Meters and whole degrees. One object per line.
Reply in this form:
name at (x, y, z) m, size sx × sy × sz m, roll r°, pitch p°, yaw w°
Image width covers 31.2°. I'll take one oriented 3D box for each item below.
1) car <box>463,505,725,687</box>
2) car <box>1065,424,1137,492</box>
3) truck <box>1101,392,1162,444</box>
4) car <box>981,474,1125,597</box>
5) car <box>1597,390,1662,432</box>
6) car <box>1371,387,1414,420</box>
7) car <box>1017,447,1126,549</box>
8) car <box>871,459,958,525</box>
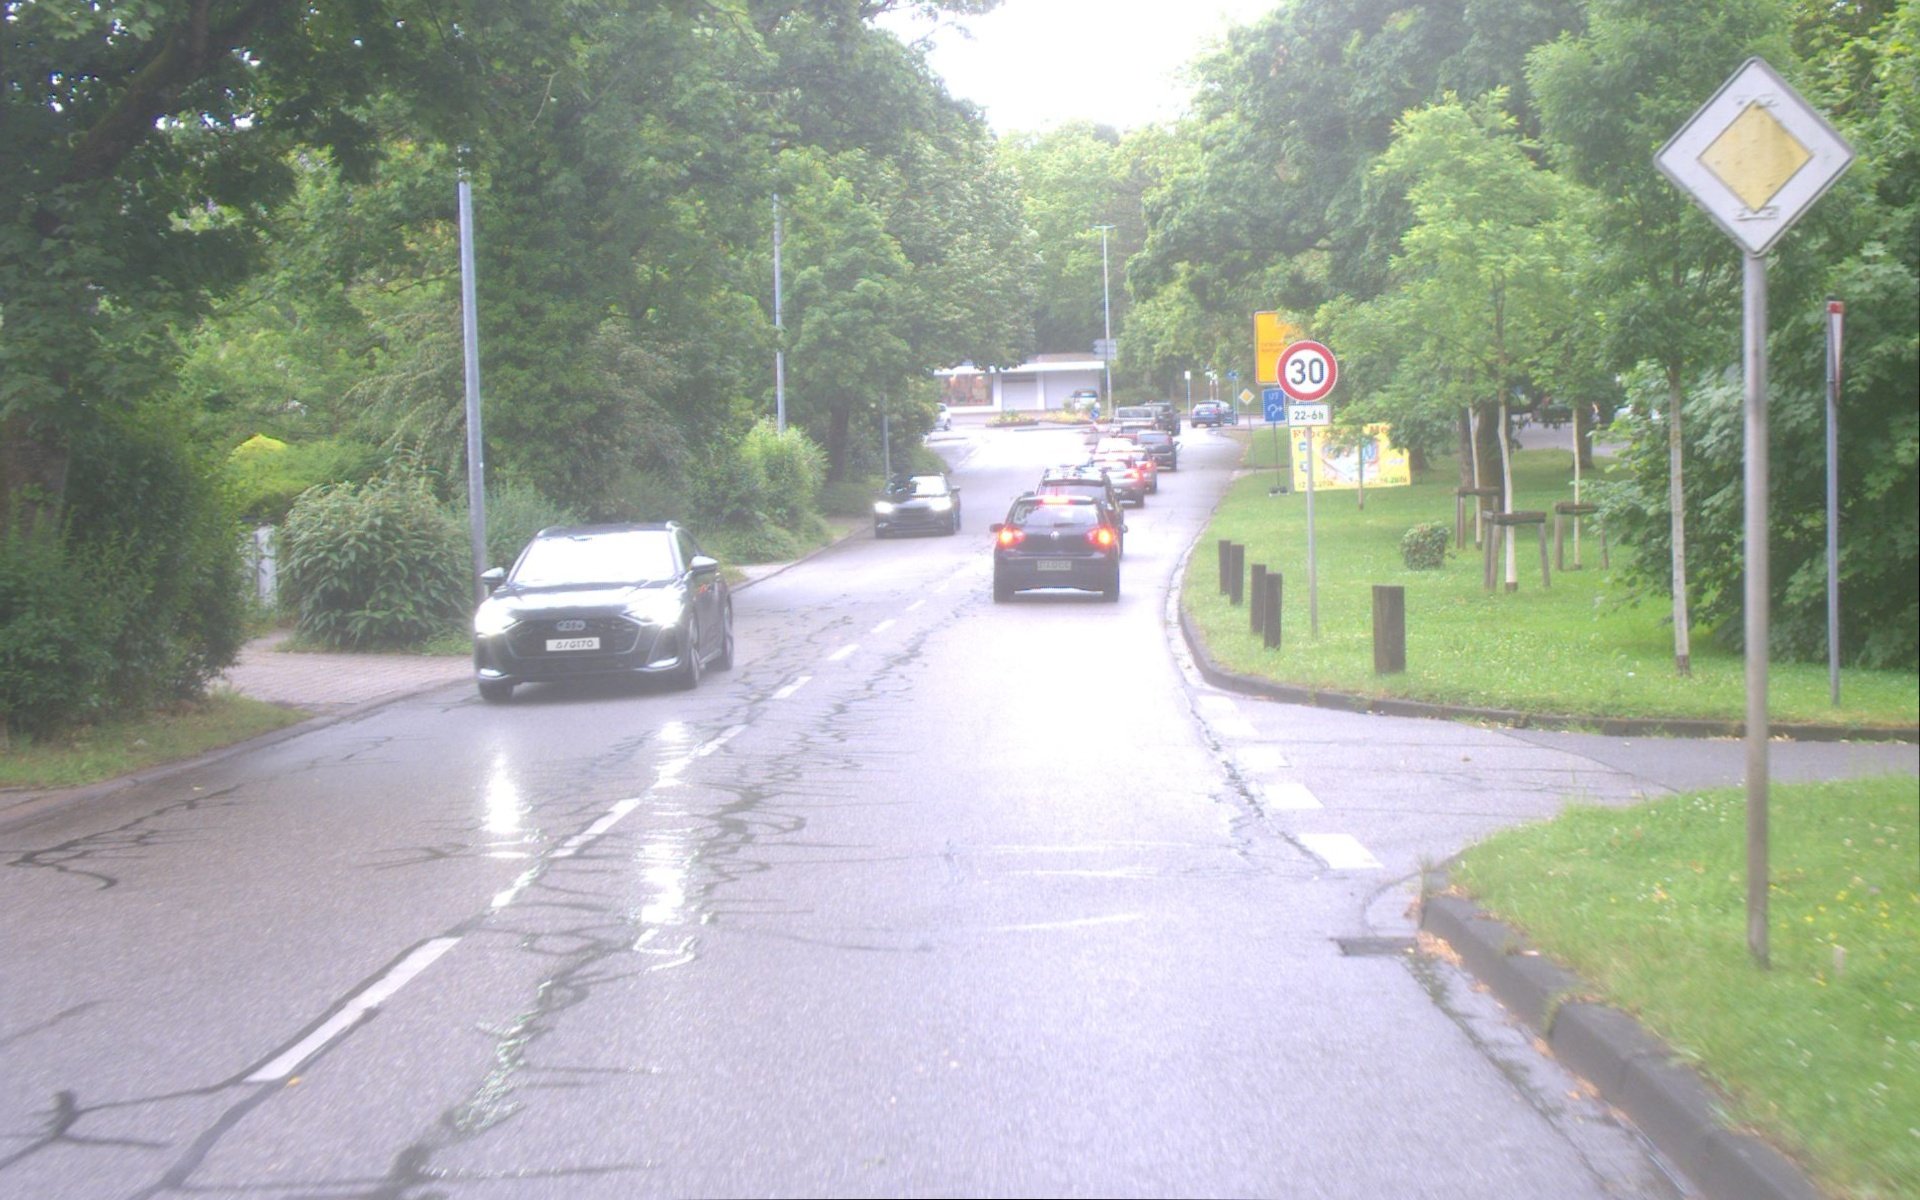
car at (-3.156, -0.080, 30.463) m, size 1.689 × 1.391 × 4.491 m, roll -4°, pitch 1°, yaw 1°
car at (3.993, -4.017, 96.839) m, size 1.856 × 1.778 × 4.000 m, roll -2°, pitch 4°, yaw 5°
truck at (7.098, -7.549, 142.238) m, size 2.417 × 1.997 × 5.151 m, roll -2°, pitch 4°, yaw 3°
car at (1.348, -0.942, 48.515) m, size 1.799 × 1.510 × 3.754 m, roll 2°, pitch 4°, yaw 4°
car at (25.953, -7.333, 133.270) m, size 1.616 × 1.404 × 4.011 m, roll -3°, pitch 5°, yaw -1°
car at (20.887, -9.482, 166.160) m, size 1.803 × 1.380 × 4.001 m, roll -3°, pitch 4°, yaw 4°
car at (2.180, -2.000, 66.321) m, size 1.856 × 1.778 × 4.000 m, roll -2°, pitch 4°, yaw 5°
car at (-1.044, -2.562, 80.866) m, size 1.754 × 1.358 × 4.326 m, roll -3°, pitch 3°, yaw 2°
